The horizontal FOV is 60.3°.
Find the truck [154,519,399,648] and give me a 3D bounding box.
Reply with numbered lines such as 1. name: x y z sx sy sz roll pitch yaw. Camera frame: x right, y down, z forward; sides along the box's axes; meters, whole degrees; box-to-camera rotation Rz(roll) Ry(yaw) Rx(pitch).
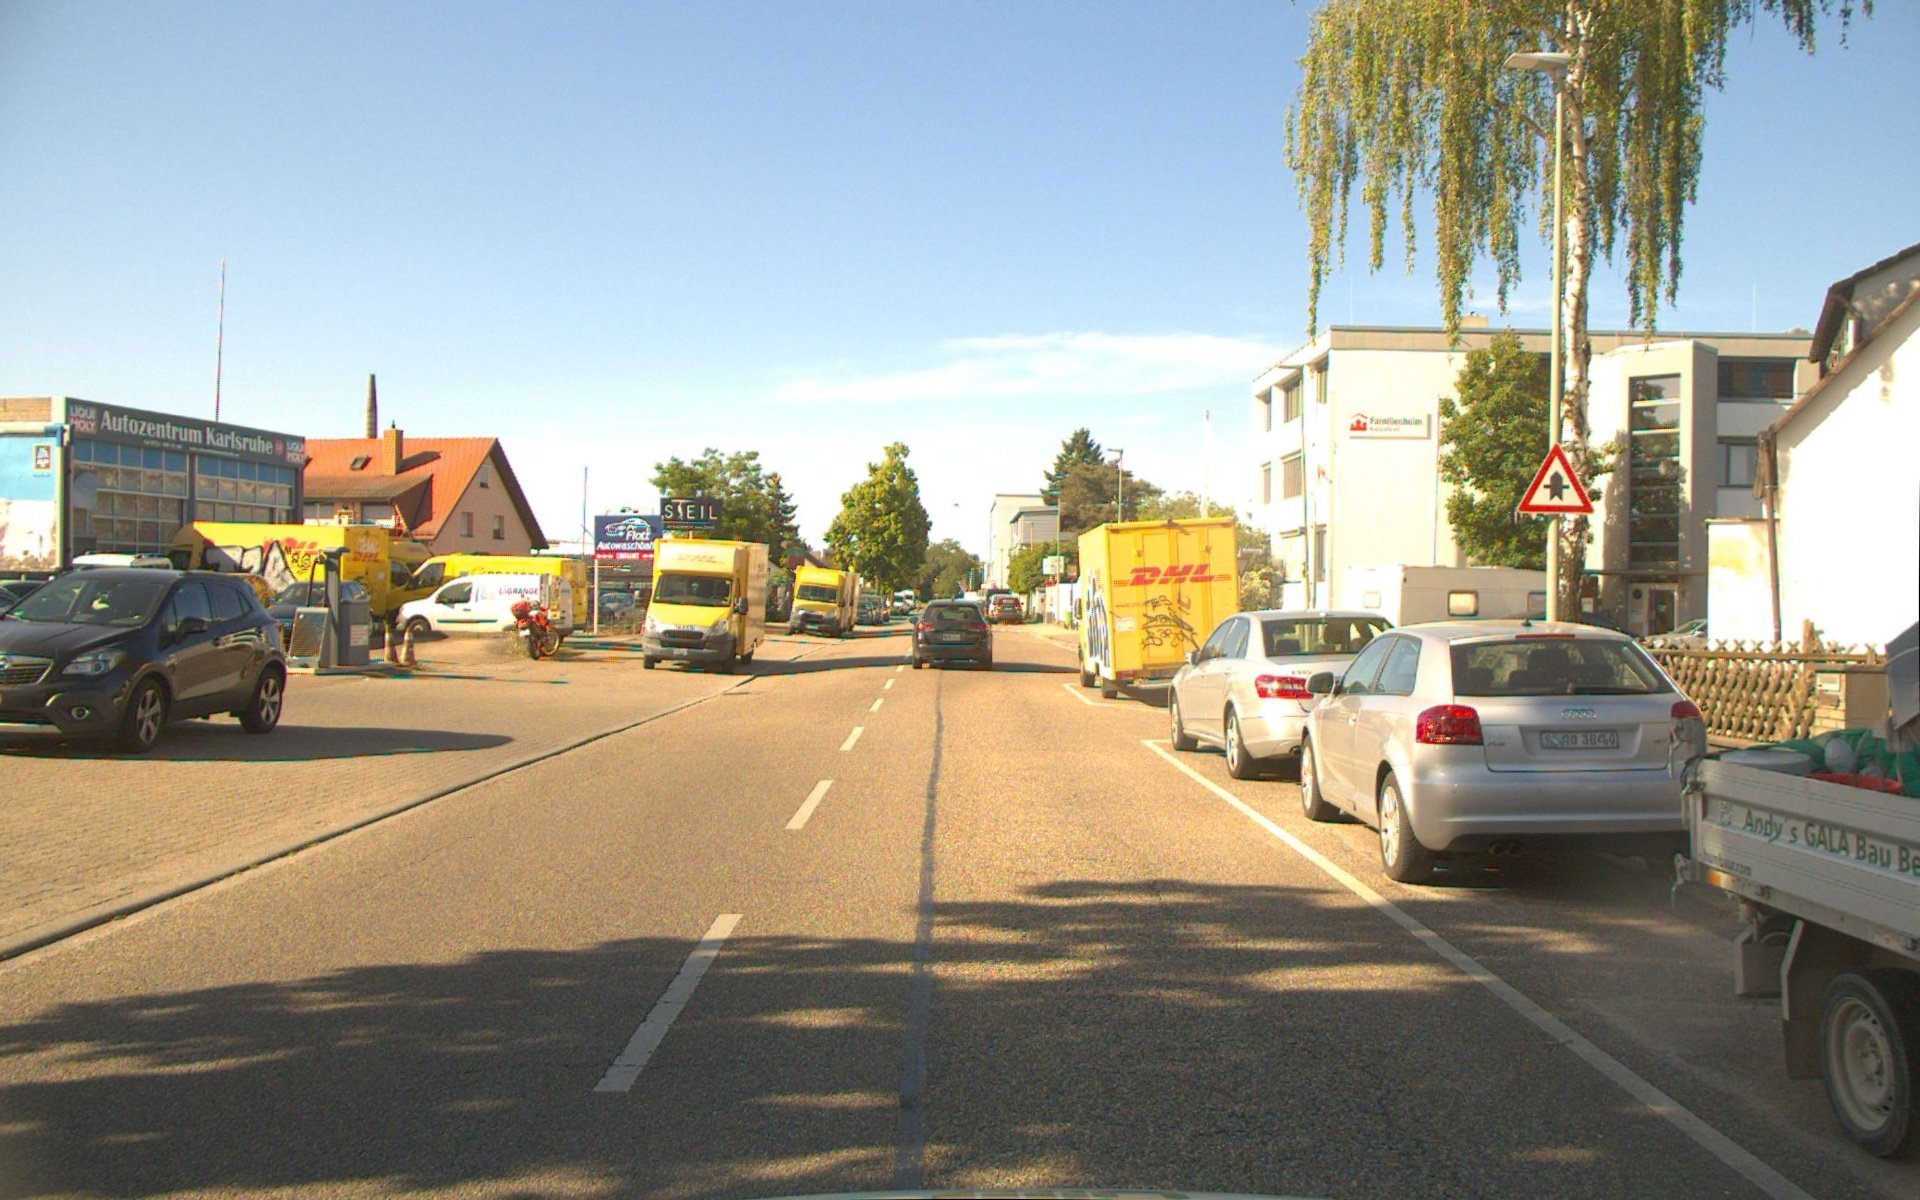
1. truck: -18.400 -0.459 44.658 5.548 3.174 2.525 2 0 11

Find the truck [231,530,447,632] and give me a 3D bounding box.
1. truck: -19.032 -0.598 50.785 5.961 3.024 2.175 0 0 12

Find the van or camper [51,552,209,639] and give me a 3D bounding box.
1. van or camper: -20.594 -0.117 41.236 1.822 2.049 4.001 0 0 1

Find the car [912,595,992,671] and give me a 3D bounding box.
1. car: -0.150 0.678 36.455 1.676 1.559 3.688 0 0 1

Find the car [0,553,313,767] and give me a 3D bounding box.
1. car: -8.118 0.490 16.229 1.824 1.744 4.275 3 0 -1

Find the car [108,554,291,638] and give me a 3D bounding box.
1. car: -18.174 -0.083 39.743 1.951 1.847 4.003 2 0 12

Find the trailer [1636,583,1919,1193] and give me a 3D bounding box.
1. trailer: 3.270 0.746 4.472 1.594 1.565 3.198 1 0 1

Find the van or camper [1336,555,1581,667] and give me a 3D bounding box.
1. van or camper: 12.228 0.268 40.533 5.739 2.586 2.272 0 0 -25

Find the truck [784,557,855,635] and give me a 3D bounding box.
1. truck: -5.896 -0.165 70.000 2.354 3.035 6.373 2 0 0

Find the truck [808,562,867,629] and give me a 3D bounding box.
1. truck: -5.776 -0.223 78.831 2.148 2.952 6.439 3 0 1

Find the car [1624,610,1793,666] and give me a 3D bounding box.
1. car: 23.064 1.148 51.082 4.418 1.646 1.800 0 0 0

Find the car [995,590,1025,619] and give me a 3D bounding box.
1. car: 3.270 0.279 108.764 1.879 1.857 4.079 1 0 0

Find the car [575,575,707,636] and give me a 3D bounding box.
1. car: -11.187 0.180 58.157 4.157 2.049 1.870 0 0 8

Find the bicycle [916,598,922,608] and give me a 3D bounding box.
1. bicycle: -5.086 0.408 204.559 0.812 1.173 2.939 1 0 -2

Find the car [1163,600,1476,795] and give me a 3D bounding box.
1. car: 3.237 0.804 15.866 1.748 1.569 4.534 1 0 -4

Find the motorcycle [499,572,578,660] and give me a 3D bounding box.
1. motorcycle: -9.672 0.327 38.092 0.765 1.905 3.042 4 1 4

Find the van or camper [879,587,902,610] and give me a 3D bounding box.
1. van or camper: -7.564 -0.148 179.406 2.277 2.403 6.523 1 0 -4

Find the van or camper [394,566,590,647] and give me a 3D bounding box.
1. van or camper: -12.333 0.157 43.756 4.447 2.049 2.252 0 0 6

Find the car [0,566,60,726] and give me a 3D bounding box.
1. car: -10.609 0.461 15.715 1.823 1.617 4.275 1 0 -1

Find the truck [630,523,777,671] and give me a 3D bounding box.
1. truck: -5.817 -0.070 38.550 2.354 3.035 7.243 2 0 -2

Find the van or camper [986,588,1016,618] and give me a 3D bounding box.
1. van or camper: 2.802 0.190 114.032 1.879 2.055 4.079 1 0 0

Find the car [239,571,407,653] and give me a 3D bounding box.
1. car: -14.945 0.231 39.046 1.825 1.589 4.218 2 4 9

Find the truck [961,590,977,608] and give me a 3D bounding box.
1. truck: 1.126 -0.136 213.474 1.953 2.327 6.955 1 0 0

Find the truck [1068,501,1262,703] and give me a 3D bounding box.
1. truck: 3.339 0.034 28.585 2.354 2.988 7.015 -2 0 0

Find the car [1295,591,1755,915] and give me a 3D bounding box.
1. car: 3.213 0.749 10.248 1.639 1.569 4.045 1 0 3

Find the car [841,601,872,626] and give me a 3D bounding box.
1. car: -6.177 0.786 98.812 1.721 1.428 4.555 1 0 -2

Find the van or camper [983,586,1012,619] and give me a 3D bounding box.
1. van or camper: 2.703 0.165 119.624 1.953 2.351 4.000 1 0 0

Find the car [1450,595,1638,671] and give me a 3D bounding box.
1. car: 13.385 0.731 37.890 3.935 1.646 1.797 0 0 -24

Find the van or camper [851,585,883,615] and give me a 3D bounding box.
1. van or camper: -6.094 0.015 108.639 1.852 1.959 4.266 0 -1 1

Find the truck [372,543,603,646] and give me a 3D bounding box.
1. truck: -13.296 -0.169 46.661 5.795 2.612 2.226 2 0 11
